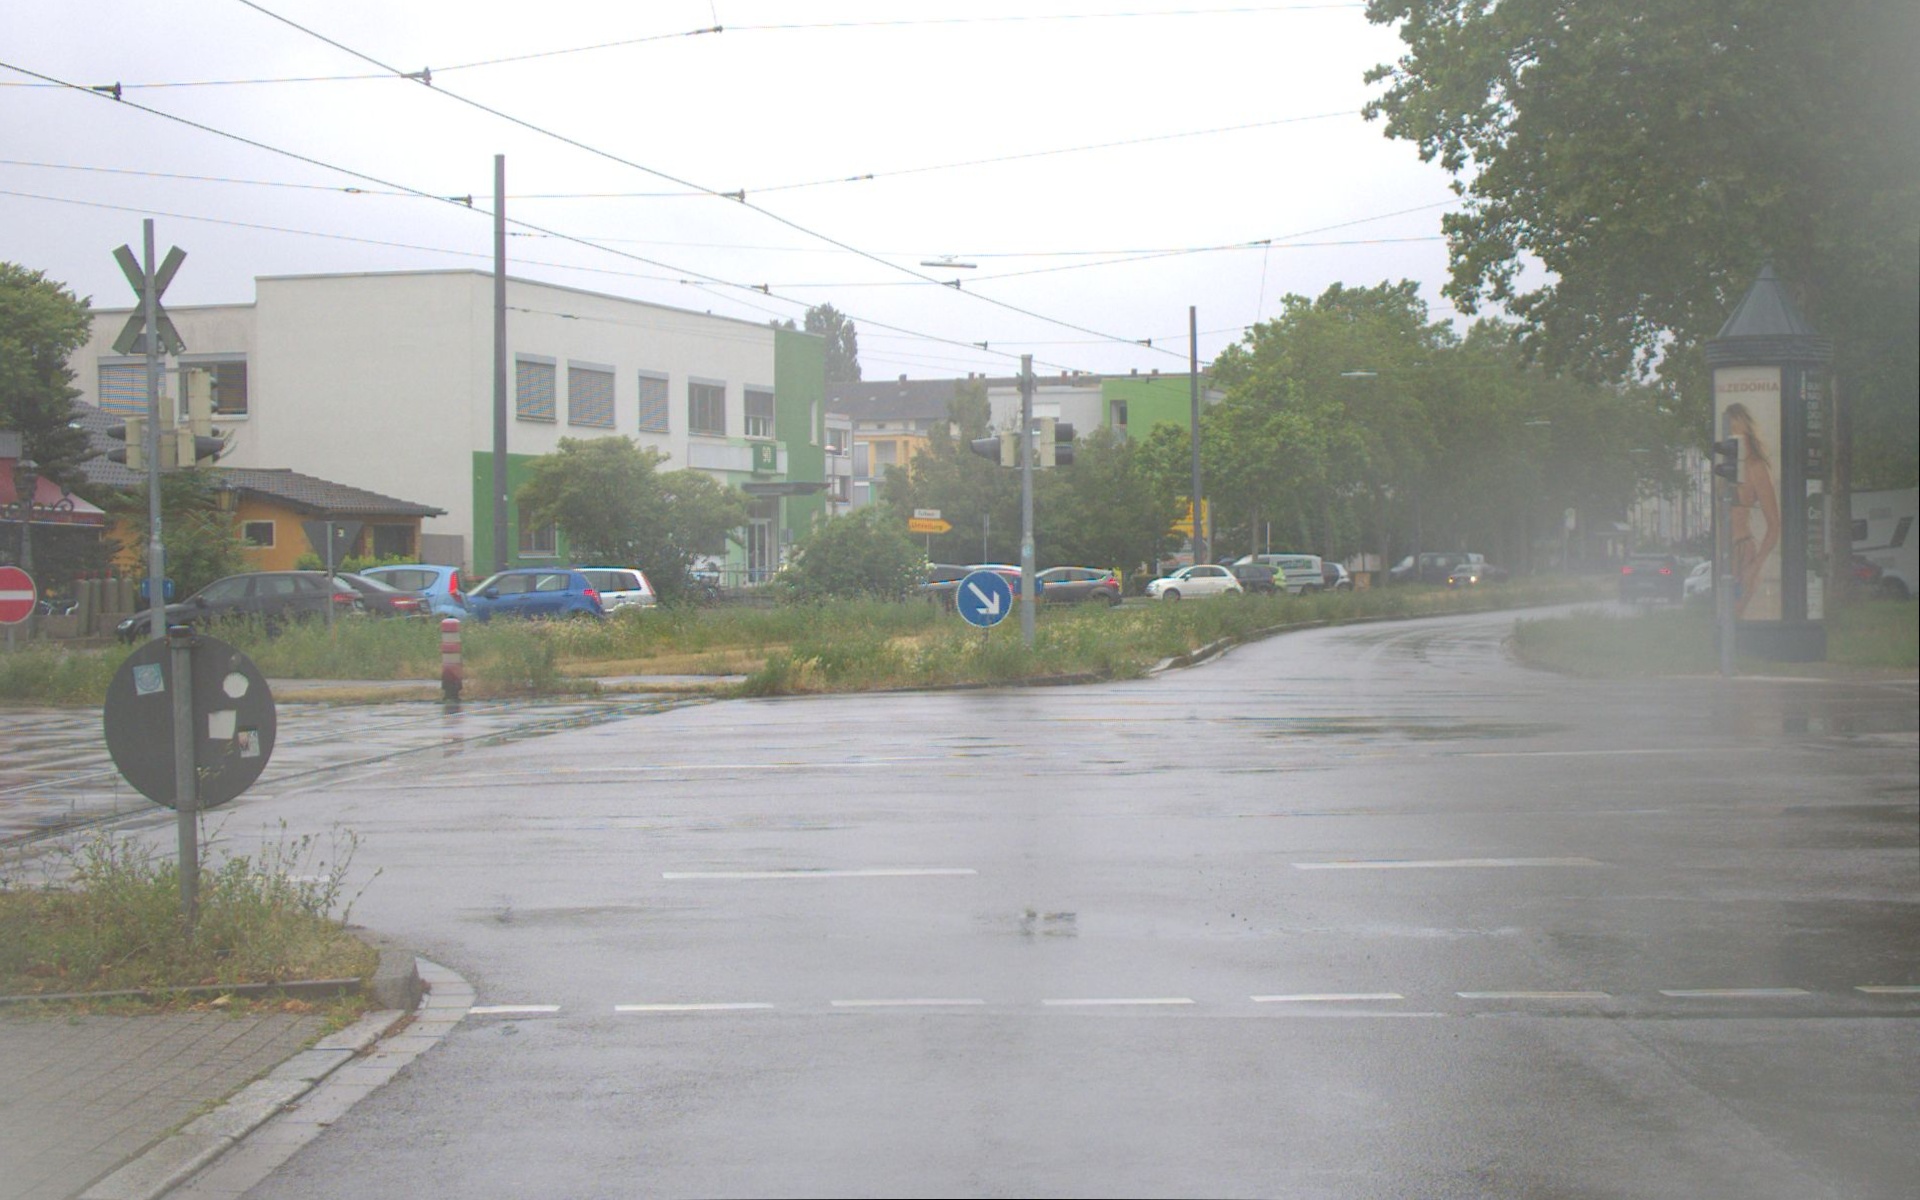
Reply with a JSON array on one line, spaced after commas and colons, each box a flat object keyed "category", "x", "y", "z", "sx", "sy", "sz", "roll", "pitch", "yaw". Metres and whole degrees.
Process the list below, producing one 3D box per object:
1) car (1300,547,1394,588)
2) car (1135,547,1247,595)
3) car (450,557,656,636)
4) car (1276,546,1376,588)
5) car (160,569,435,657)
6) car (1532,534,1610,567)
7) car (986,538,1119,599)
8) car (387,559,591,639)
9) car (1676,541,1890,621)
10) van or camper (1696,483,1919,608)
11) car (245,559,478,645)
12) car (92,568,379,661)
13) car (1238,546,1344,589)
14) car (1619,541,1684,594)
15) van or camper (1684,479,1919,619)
[{"category": "car", "x": 17.887, "y": -1.498, "z": 158.916, "sx": 3.986, "sy": 1.826, "sz": 2.000, "roll": 1, "pitch": 0, "yaw": -5}, {"category": "car", "x": 8.503, "y": -1.072, "z": 126.767, "sx": 3.773, "sy": 1.697, "sz": 1.837, "roll": 1, "pitch": 0, "yaw": -10}, {"category": "car", "x": -8.648, "y": -0.085, "z": 72.911, "sx": 4.107, "sy": 1.635, "sz": 1.930, "roll": -1, "pitch": 0, "yaw": -14}, {"category": "car", "x": 16.366, "y": -1.468, "z": 153.846, "sx": 3.986, "sy": 1.826, "sz": 2.001, "roll": 1, "pitch": 0, "yaw": -11}, {"category": "car", "x": -11.792, "y": 0.219, "z": 61.394, "sx": 4.497, "sy": 1.413, "sz": 1.858, "roll": -2, "pitch": 0, "yaw": 1}, {"category": "car", "x": 35.305, "y": -2.857, "z": 198.685, "sx": 3.986, "sy": 1.826, "sz": 2.000, "roll": 1, "pitch": 0, "yaw": -5}, {"category": "car", "x": 2.955, "y": -1.006, "z": 110.240, "sx": 3.986, "sy": 1.881, "sz": 2.000, "roll": 1, "pitch": 0, "yaw": -7}, {"category": "car", "x": -9.576, "y": -0.037, "z": 69.735, "sx": 3.986, "sy": 1.576, "sz": 1.930, "roll": 0, "pitch": 0, "yaw": -11}, {"category": "car", "x": 18.563, "y": -0.437, "z": 77.557, "sx": 4.449, "sy": 1.711, "sz": 1.998, "roll": 1, "pitch": 1, "yaw": 21}, {"category": "van or camper", "x": 23.248, "y": -1.413, "z": 89.653, "sx": 7.434, "sy": 3.167, "sz": 3.259, "roll": 1, "pitch": 1, "yaw": 22}, {"category": "car", "x": -11.254, "y": 0.035, "z": 64.782, "sx": 3.987, "sy": 1.576, "sz": 1.858, "roll": 0, "pitch": 0, "yaw": 4}, {"category": "car", "x": -12.389, "y": 0.236, "z": 58.987, "sx": 4.477, "sy": 1.413, "sz": 1.858, "roll": -2, "pitch": 0, "yaw": 1}, {"category": "car", "x": 13.937, "y": -1.376, "z": 144.843, "sx": 3.986, "sy": 1.752, "sz": 2.011, "roll": 1, "pitch": 0, "yaw": -11}, {"category": "car", "x": 22.895, "y": -1.065, "z": 113.761, "sx": 1.807, "sy": 1.680, "sz": 3.908, "roll": 1, "pitch": 1, "yaw": 16}, {"category": "van or camper", "x": 20.875, "y": -1.174, "z": 80.548, "sx": 7.328, "sy": 3.167, "sz": 3.259, "roll": 1, "pitch": 0, "yaw": 18}]
